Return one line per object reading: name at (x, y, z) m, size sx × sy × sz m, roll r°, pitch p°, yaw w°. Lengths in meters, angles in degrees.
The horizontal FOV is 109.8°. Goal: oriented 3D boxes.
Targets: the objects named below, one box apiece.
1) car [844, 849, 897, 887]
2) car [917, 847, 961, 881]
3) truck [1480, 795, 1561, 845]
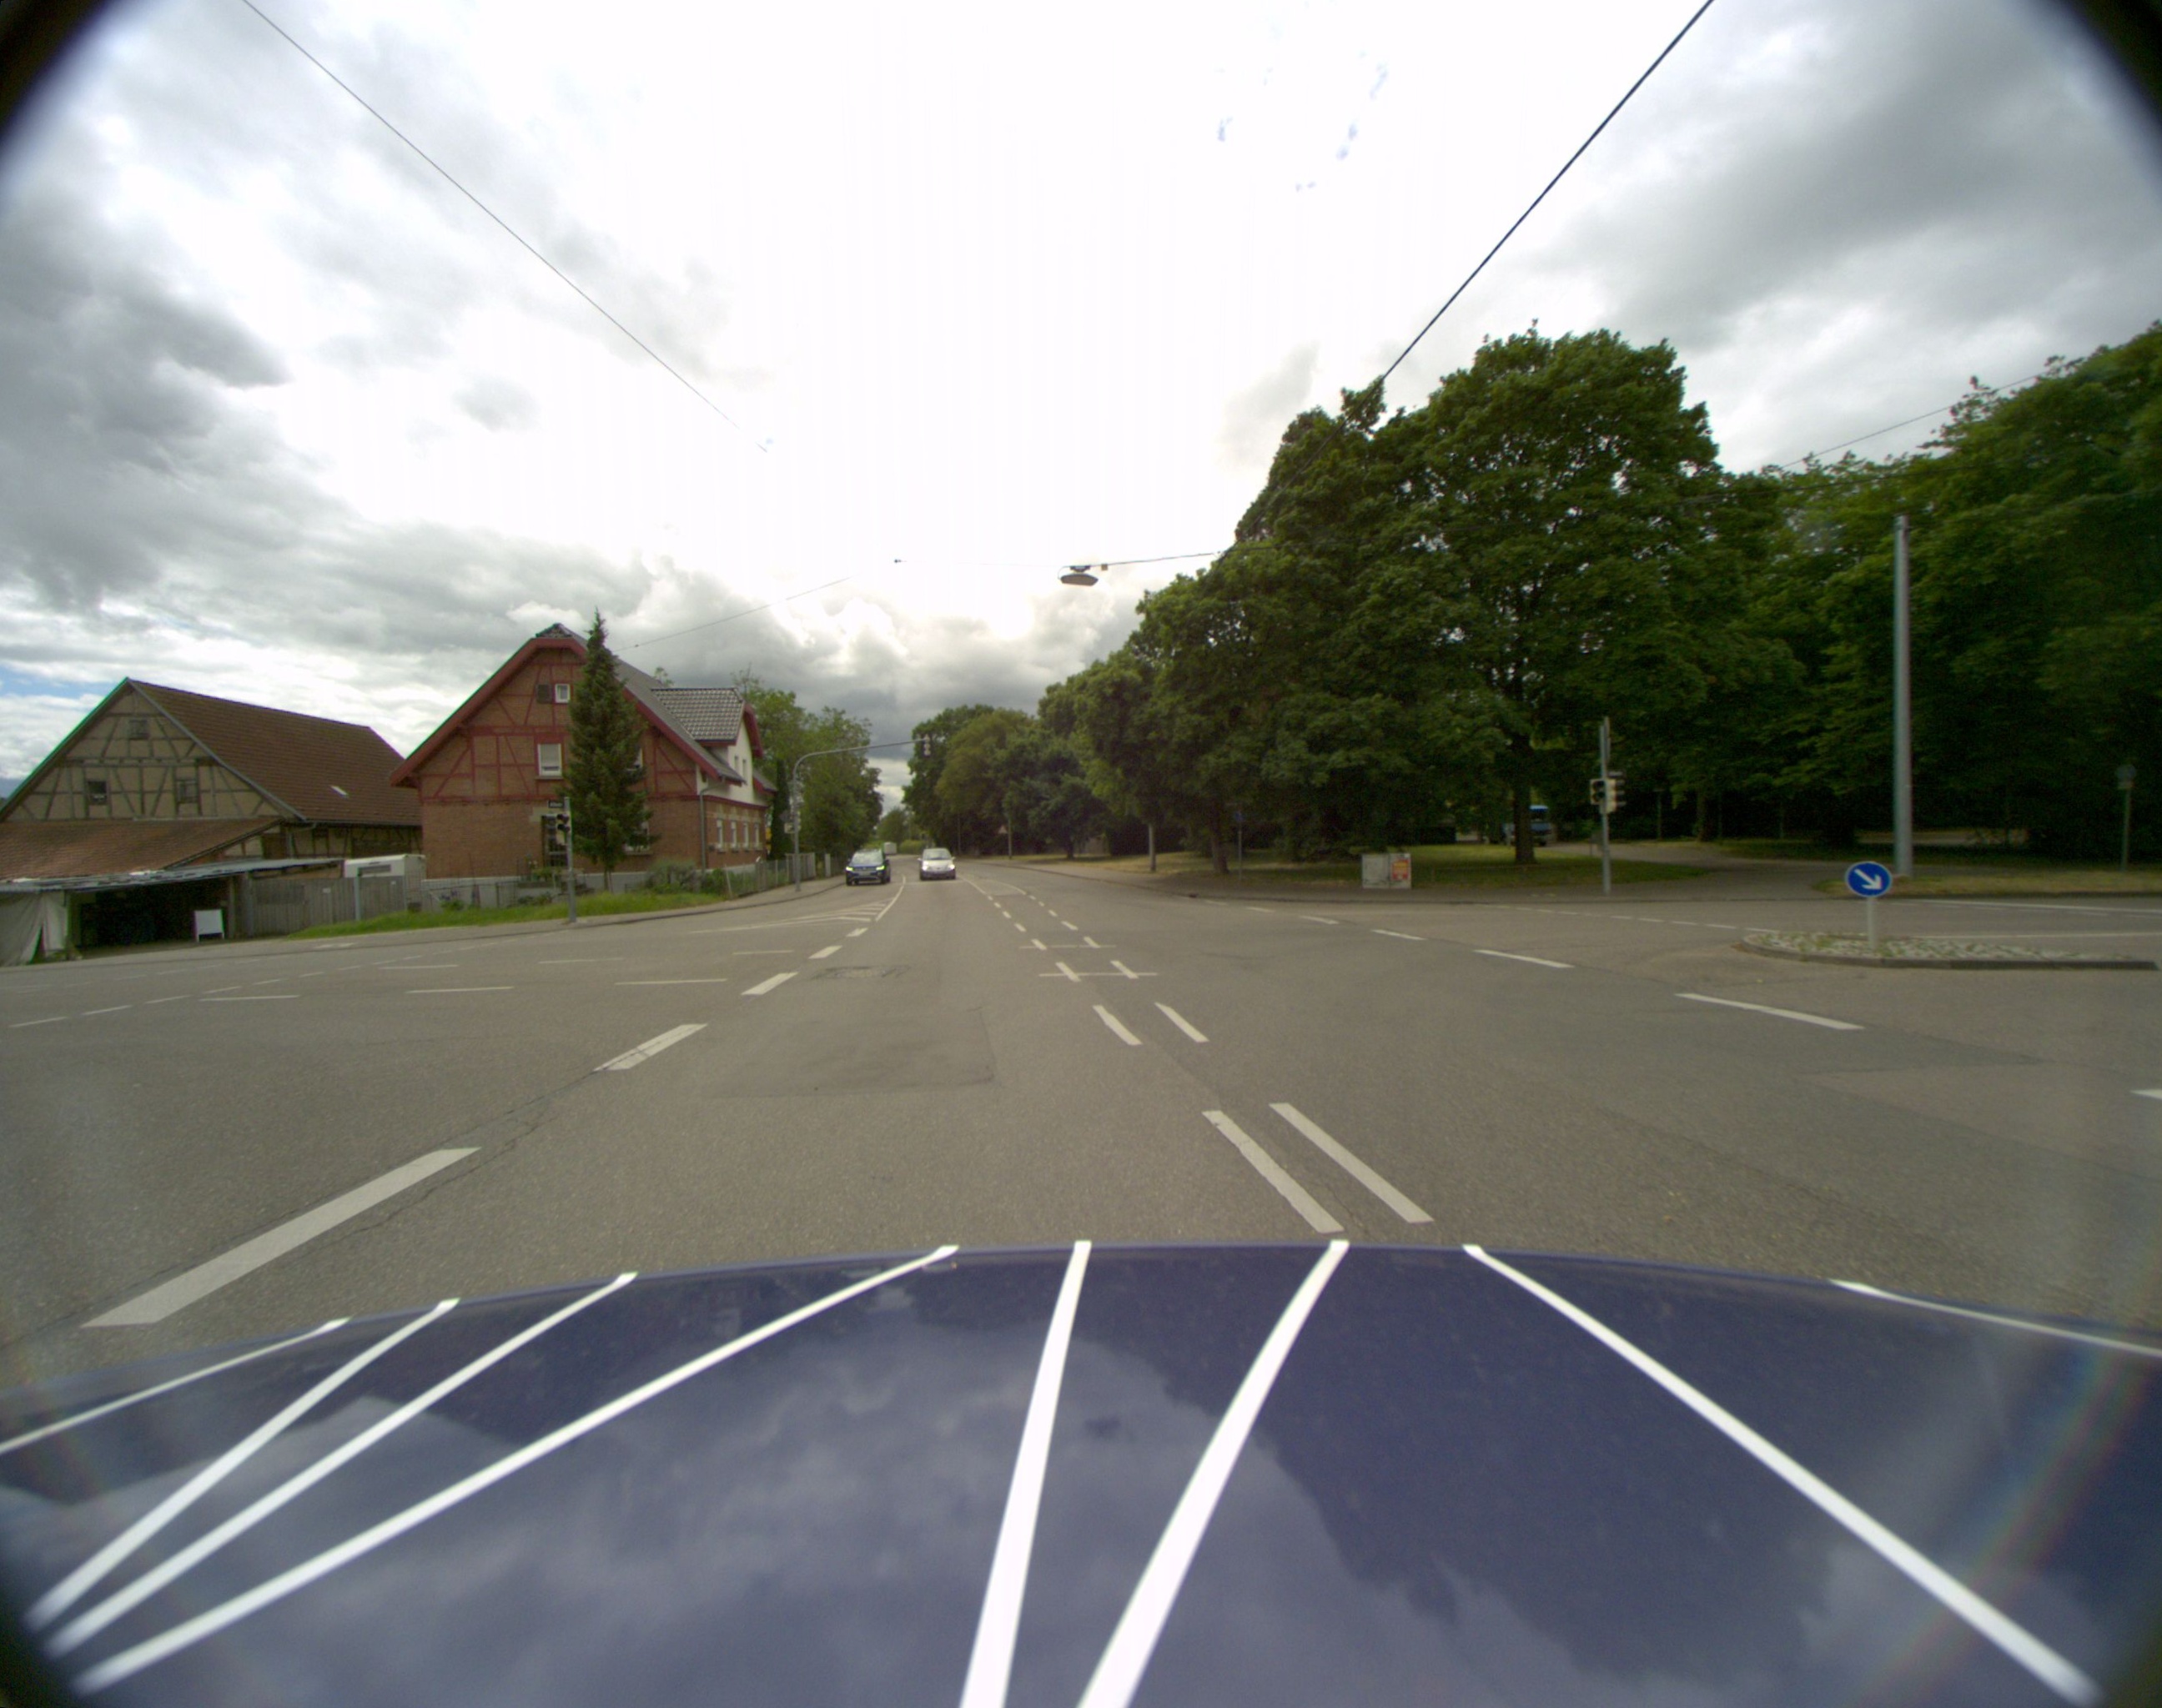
car at (-9.815, 0.600, 35.719) m, size 1.928 × 1.510 × 3.995 m, roll -3°, pitch 2°, yaw -10°
car at (-7.273, 0.472, 38.676) m, size 1.782 × 1.510 × 3.552 m, roll -4°, pitch 2°, yaw -16°
truck at (27.714, -2.098, 48.256) m, size 2.478 × 2.831 × 7.439 m, roll -2°, pitch 2°, yaw 15°
